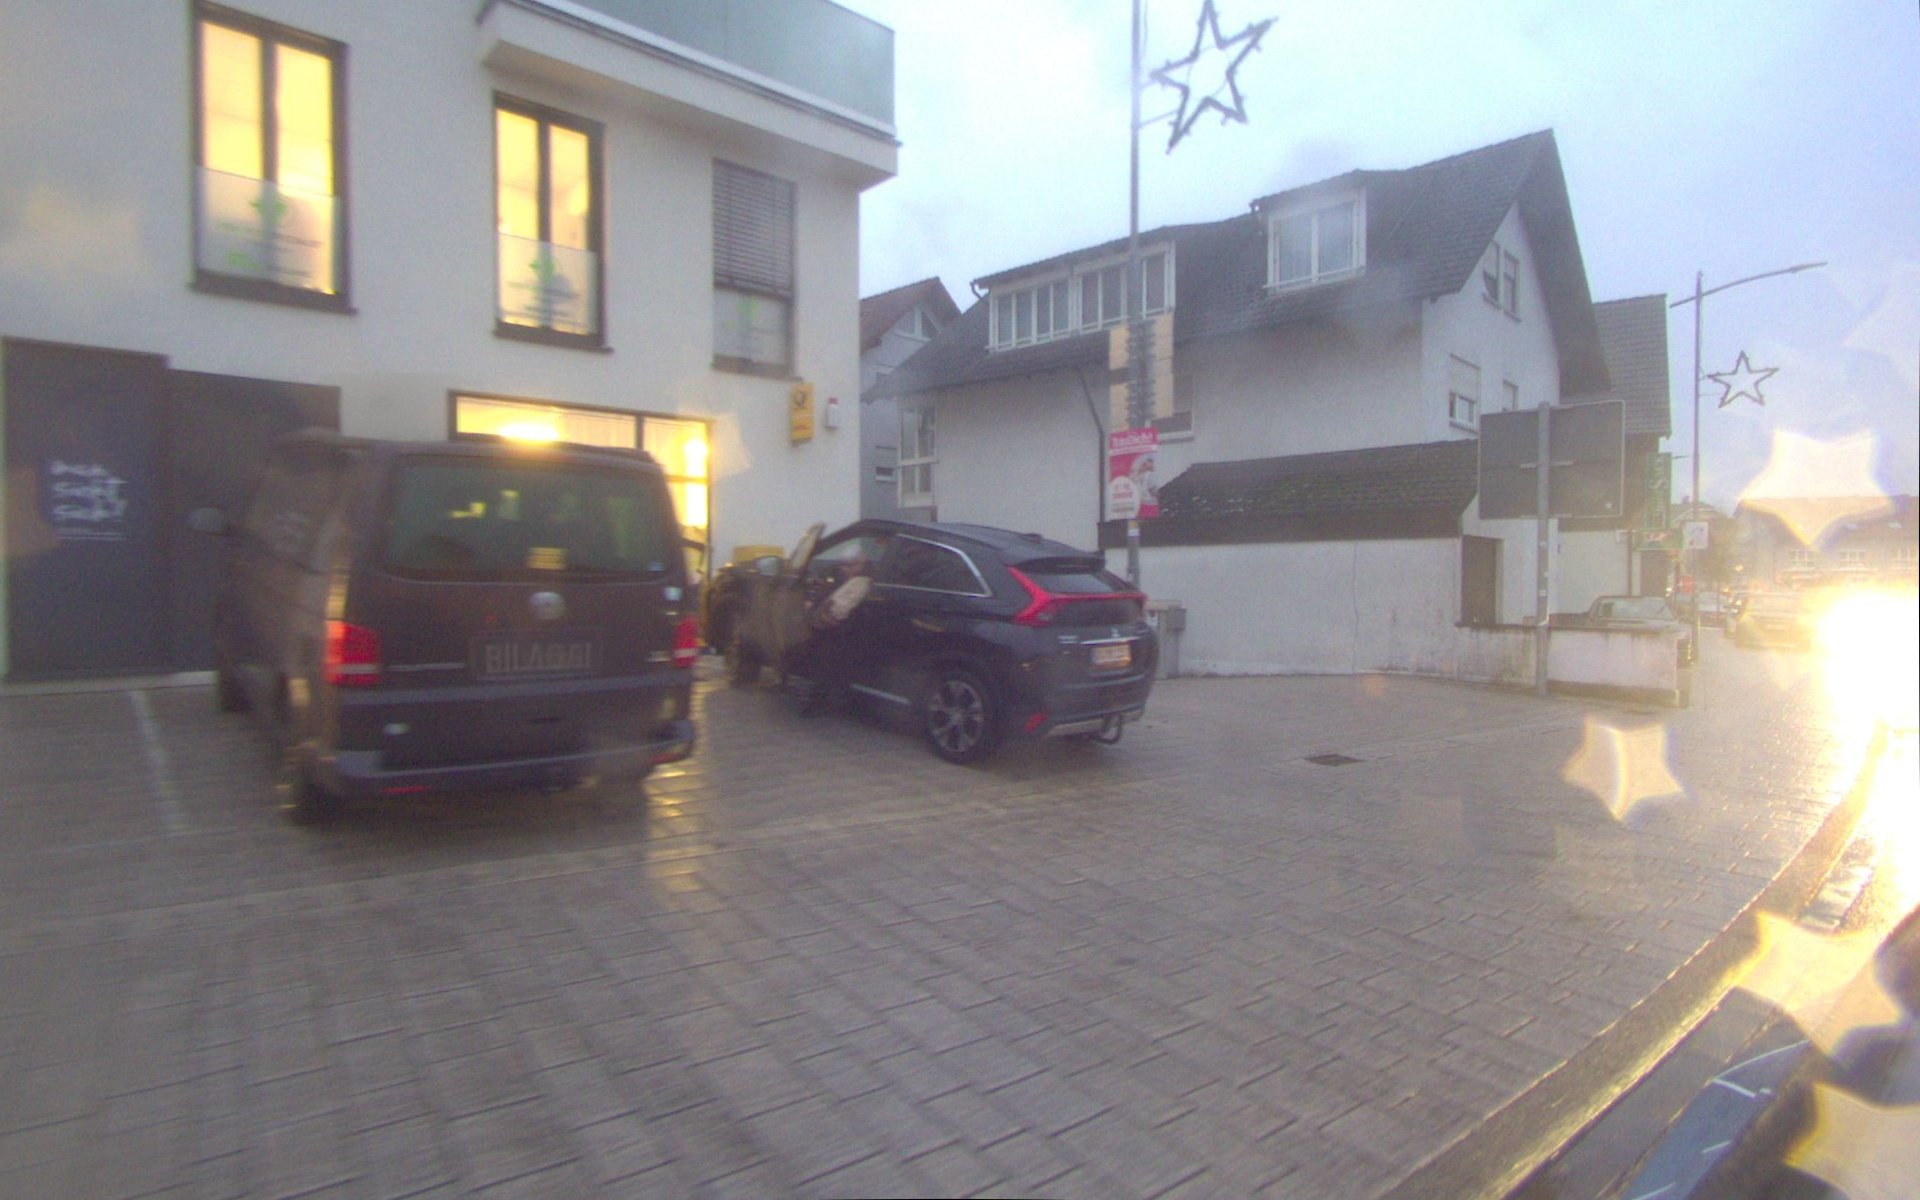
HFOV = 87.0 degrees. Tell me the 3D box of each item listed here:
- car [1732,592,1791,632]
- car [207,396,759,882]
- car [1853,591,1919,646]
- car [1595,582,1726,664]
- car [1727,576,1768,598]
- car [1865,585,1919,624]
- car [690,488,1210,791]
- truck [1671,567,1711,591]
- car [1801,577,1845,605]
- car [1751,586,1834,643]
[{"bbox_3d":[28.564,0.403,36.142,1.489,1.307,3.247,3,1,36],"label":"car"},{"bbox_3d":[-3.328,-0.049,6.413,1.940,1.957,4.551,1,5,-41],"label":"car"},{"bbox_3d":[27.150,0.503,29.370,1.564,1.487,3.567,-1,0,38],"label":"car"},{"bbox_3d":[14.945,0.435,21.515,1.772,1.515,3.720,4,2,42],"label":"car"},{"bbox_3d":[56.070,-0.915,72.109,1.740,1.435,3.715,3,1,30],"label":"car"},{"bbox_3d":[39.676,0.184,42.552,1.658,1.541,3.956,3,1,31],"label":"car"},{"bbox_3d":[-0.278,0.104,8.462,4.139,1.653,1.729,11,7,40],"label":"car"},{"bbox_3d":[66.053,-1.858,91.536,2.125,2.038,4.494,3,1,26],"label":"truck"},{"bbox_3d":[65.824,-0.707,77.211,1.985,2.039,3.954,0,0,32],"label":"car"},{"bbox_3d":[25.201,0.404,30.636,1.841,1.606,3.713,1,1,40],"label":"car"}]
